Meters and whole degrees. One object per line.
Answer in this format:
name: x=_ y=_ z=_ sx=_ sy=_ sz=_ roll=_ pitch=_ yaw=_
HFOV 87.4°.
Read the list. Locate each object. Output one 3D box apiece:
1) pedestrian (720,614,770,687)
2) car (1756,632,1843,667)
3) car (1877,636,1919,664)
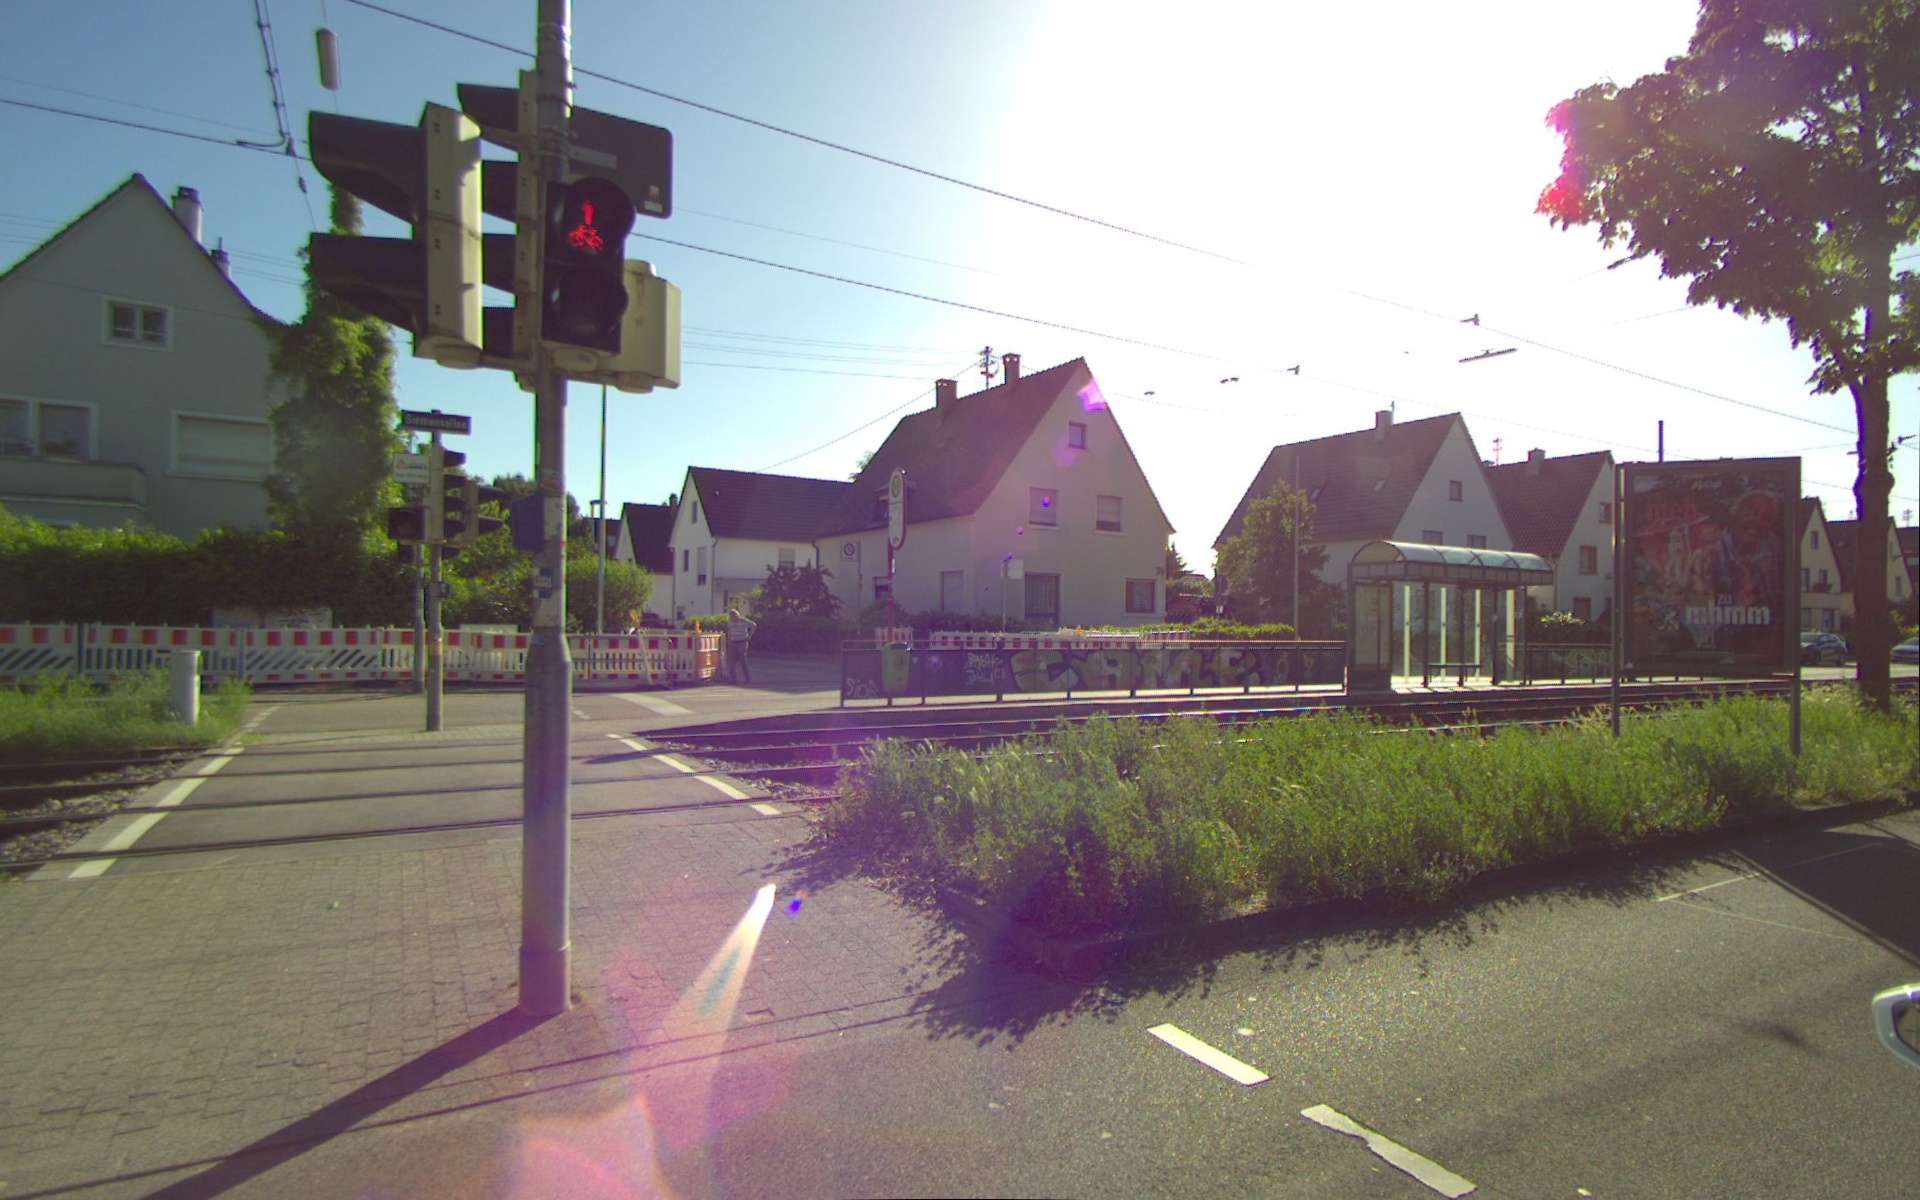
pedestrian: x=-4.706 y=1.085 z=22.019 sx=0.797 sy=1.555 sz=0.794 roll=0 pitch=0 yaw=11
car: x=40.487 y=2.392 z=48.418 sx=4.207 sy=1.515 sz=1.916 roll=2 pitch=0 yaw=-31
car: x=52.596 y=2.761 z=55.145 sx=4.356 sy=1.445 sz=1.985 roll=2 pitch=0 yaw=-29
